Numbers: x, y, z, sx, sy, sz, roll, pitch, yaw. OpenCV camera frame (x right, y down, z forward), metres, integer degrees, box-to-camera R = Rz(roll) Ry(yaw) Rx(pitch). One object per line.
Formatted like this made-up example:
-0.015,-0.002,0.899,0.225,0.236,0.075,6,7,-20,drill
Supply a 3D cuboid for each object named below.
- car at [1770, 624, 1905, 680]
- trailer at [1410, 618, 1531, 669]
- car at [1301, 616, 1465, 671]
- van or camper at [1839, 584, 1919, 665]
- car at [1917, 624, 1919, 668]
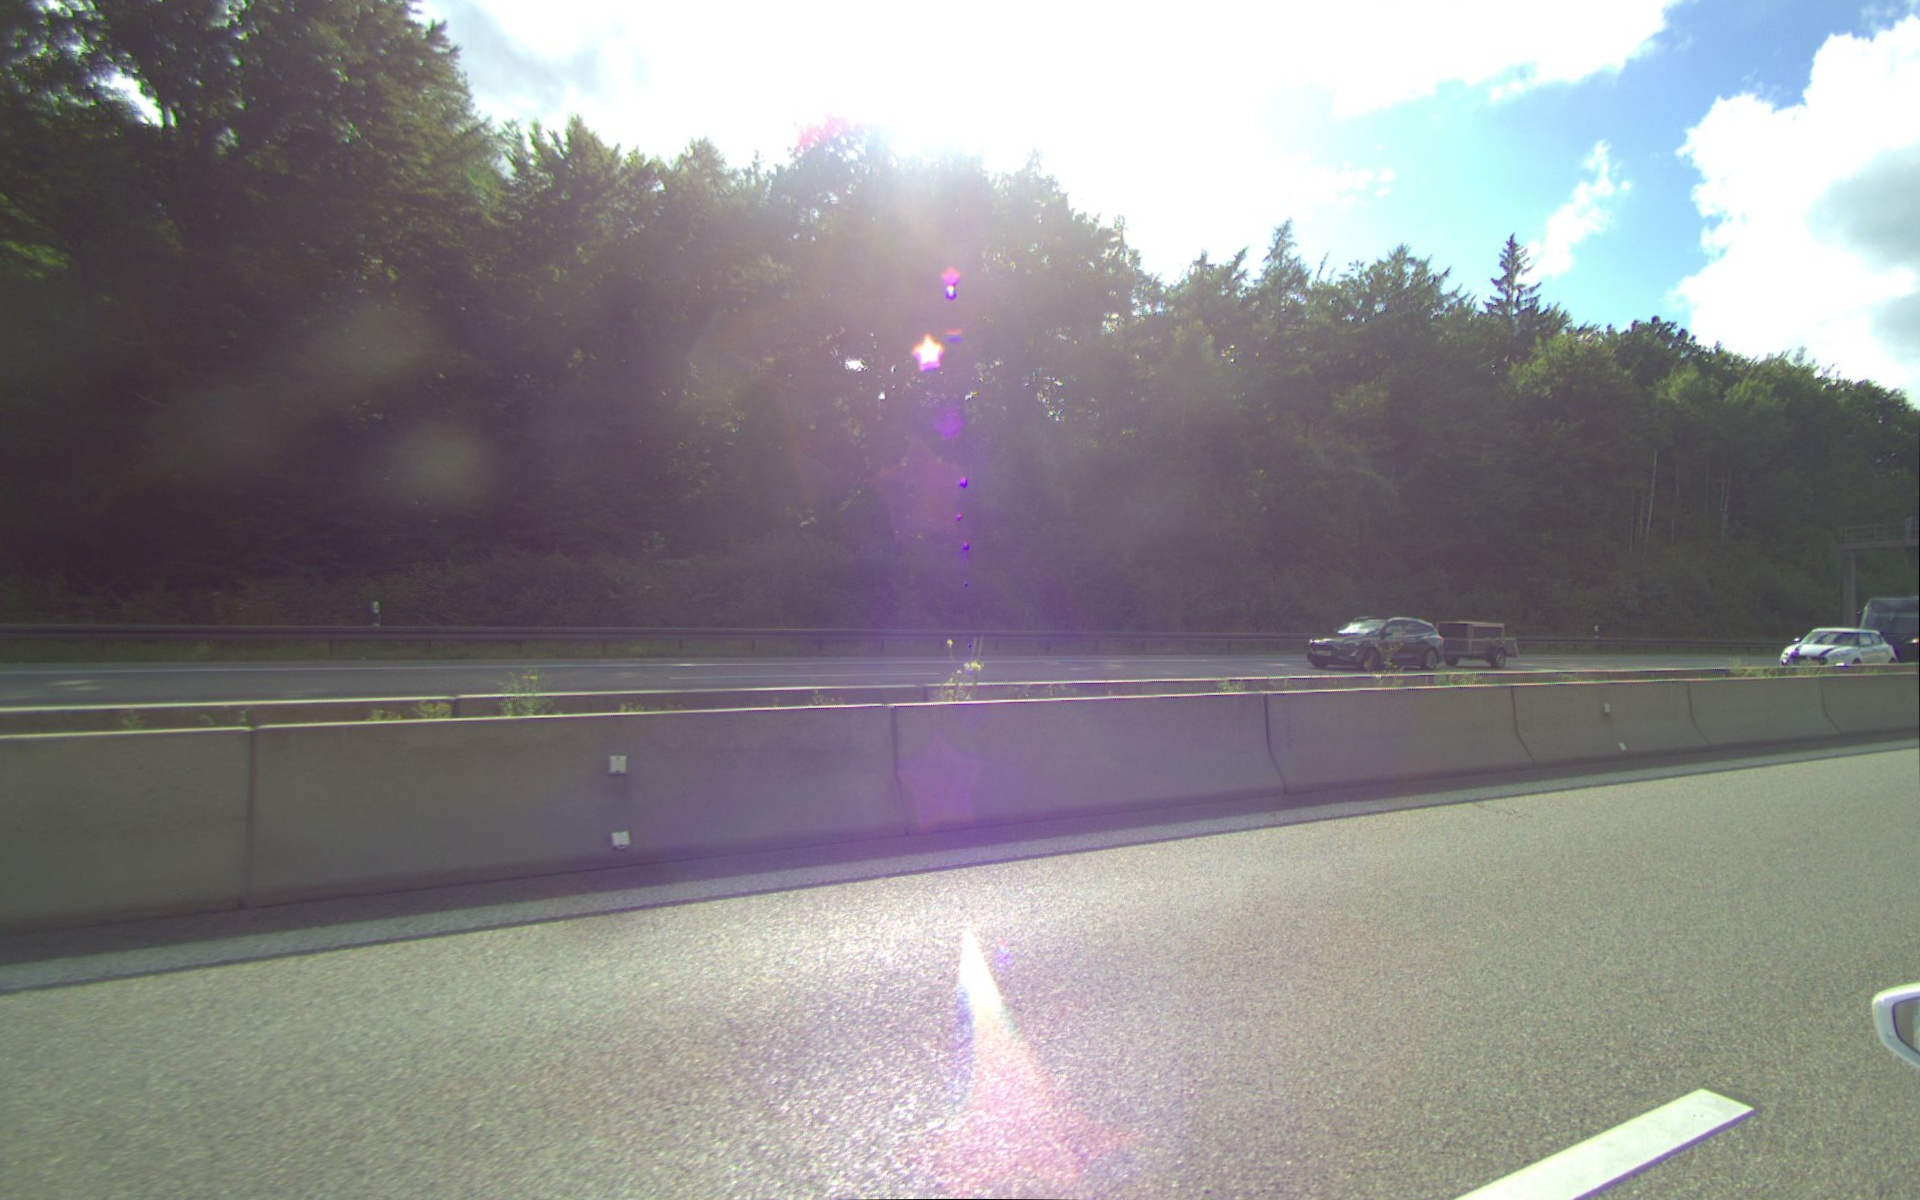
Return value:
26.577,1.548,30.400,4.264,1.555,1.806,1,0,-30,car
15.566,1.297,30.579,3.669,1.432,1.649,1,0,-32,trailer
11.945,1.202,28.264,4.883,1.408,1.802,1,0,-32,car
40.158,1.019,42.245,7.246,3.167,2.547,1,0,-30,van or camper
36.846,1.696,36.397,4.646,1.560,1.914,1,0,-30,car
